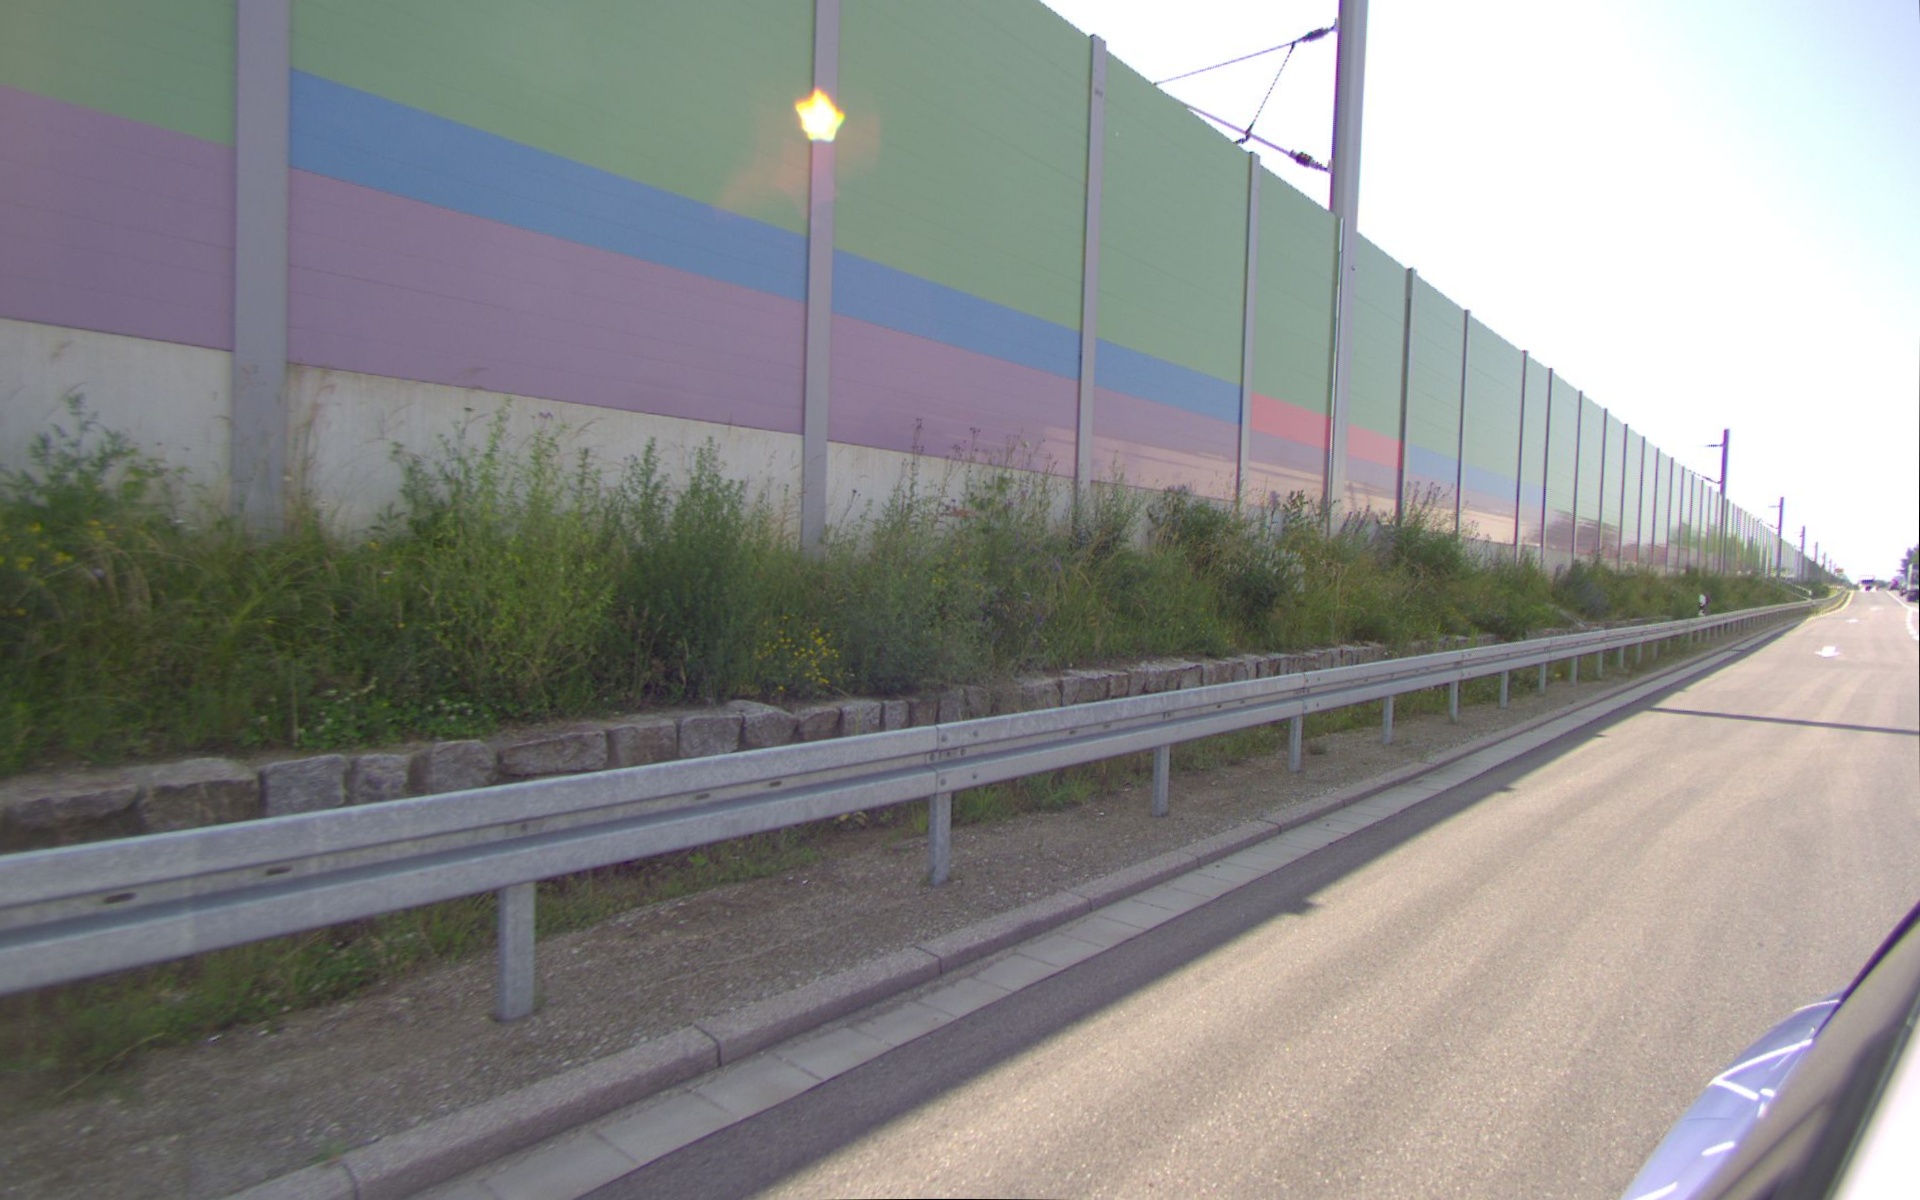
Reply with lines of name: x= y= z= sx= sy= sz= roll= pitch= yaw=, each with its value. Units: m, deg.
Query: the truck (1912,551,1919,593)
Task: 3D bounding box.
truck: x=95.621 y=-2.587 z=98.879 sx=3.556 sy=3.925 sz=11.235 roll=4 pitch=3 yaw=43

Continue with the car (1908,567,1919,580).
car: x=158.349 y=-4.348 z=167.501 sx=1.994 sy=2.038 sz=3.937 roll=4 pitch=3 yaw=43
